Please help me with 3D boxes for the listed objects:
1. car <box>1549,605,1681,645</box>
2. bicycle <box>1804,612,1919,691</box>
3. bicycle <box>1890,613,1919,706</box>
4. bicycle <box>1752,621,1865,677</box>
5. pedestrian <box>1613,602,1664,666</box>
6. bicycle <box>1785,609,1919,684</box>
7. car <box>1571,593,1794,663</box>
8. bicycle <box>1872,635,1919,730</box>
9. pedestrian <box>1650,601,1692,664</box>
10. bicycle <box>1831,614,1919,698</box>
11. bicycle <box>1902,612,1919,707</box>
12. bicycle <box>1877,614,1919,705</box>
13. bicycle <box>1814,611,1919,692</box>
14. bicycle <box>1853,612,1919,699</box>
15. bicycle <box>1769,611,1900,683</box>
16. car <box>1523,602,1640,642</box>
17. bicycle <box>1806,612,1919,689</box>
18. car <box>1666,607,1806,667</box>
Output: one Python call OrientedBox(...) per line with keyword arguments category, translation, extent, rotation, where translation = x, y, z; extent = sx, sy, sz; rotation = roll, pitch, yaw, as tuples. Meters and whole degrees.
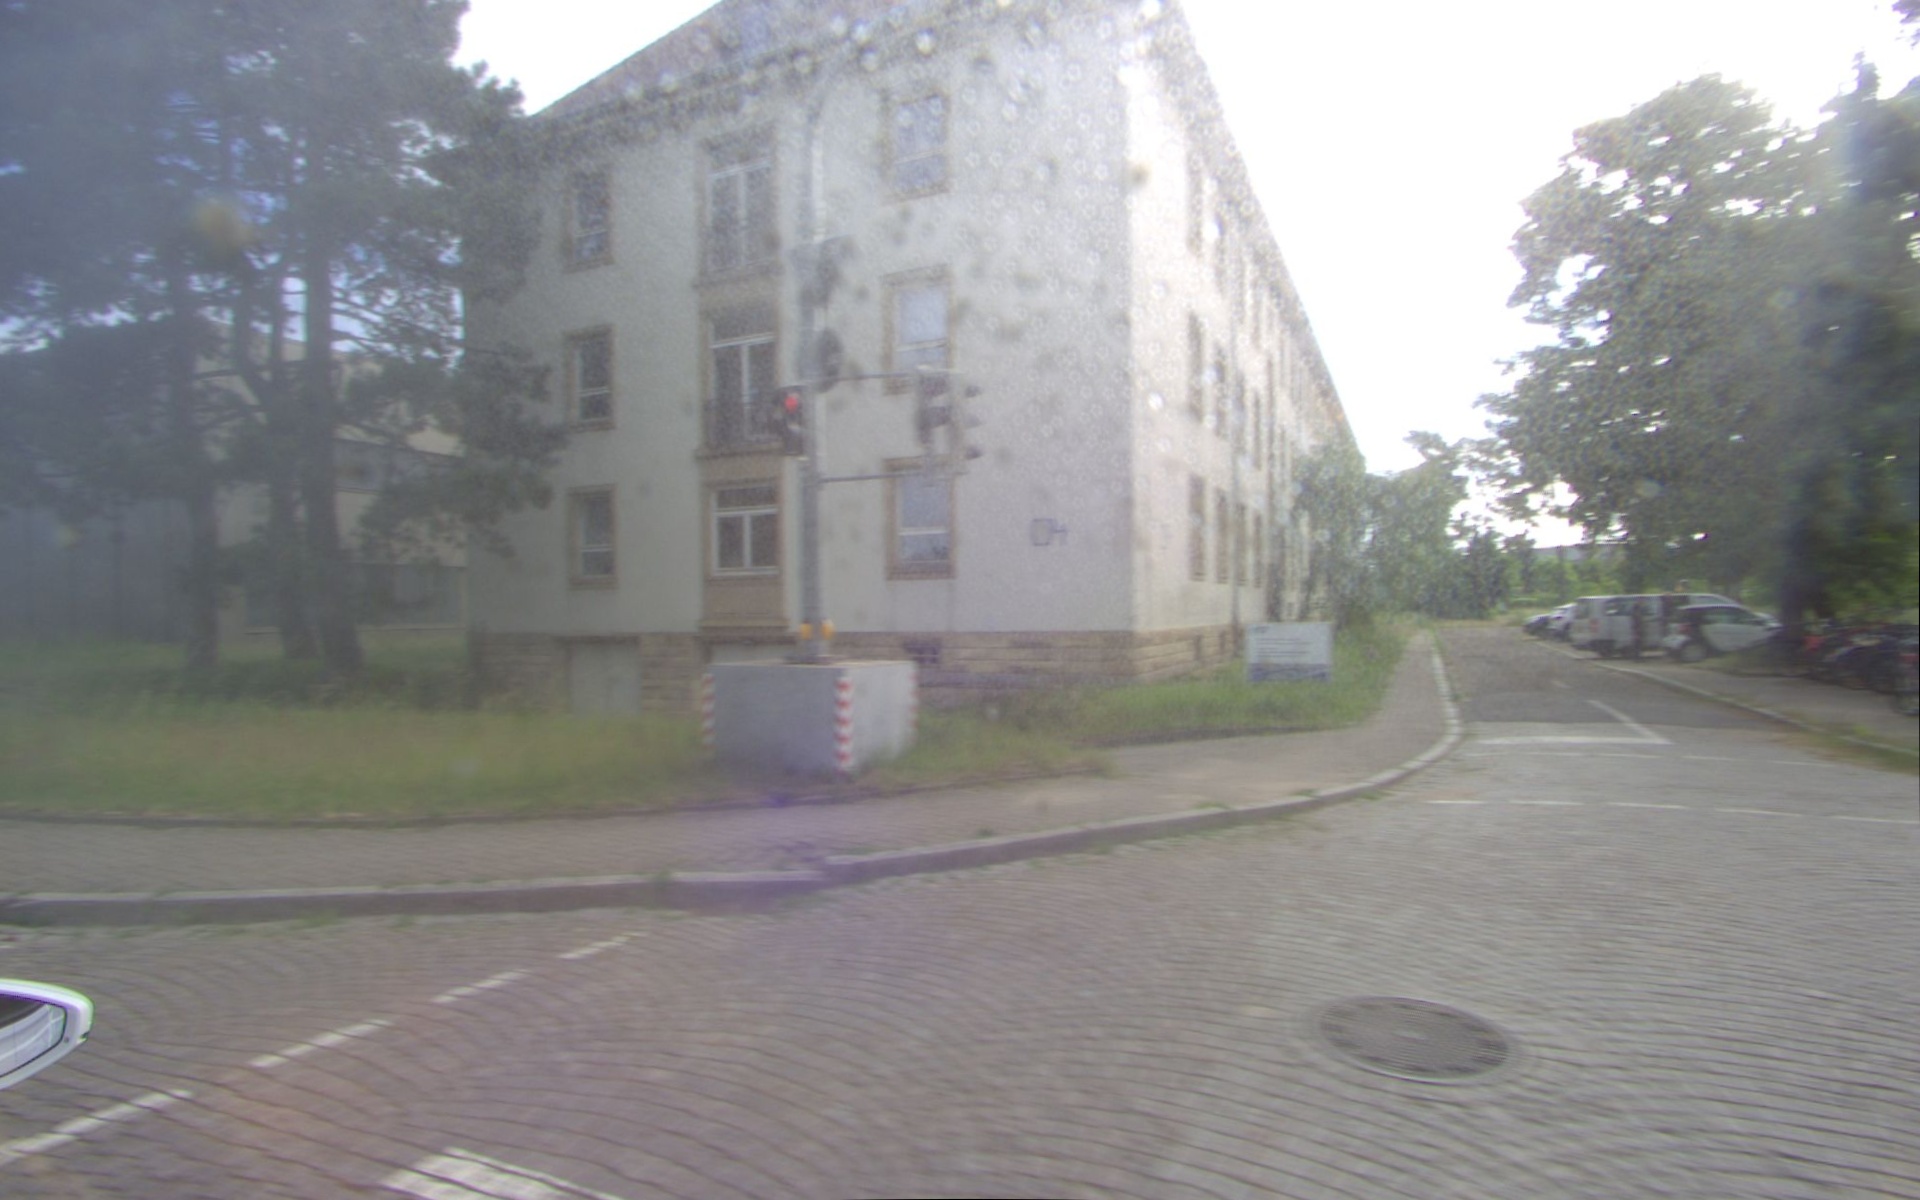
OrientedBox(category="car", translation=(27.585, 1.052, 42.316), extent=(4.392, 1.613, 1.774), rotation=(-1, 0, 23))
OrientedBox(category="bicycle", translation=(16.017, 0.881, 17.536), extent=(1.806, 1.349, 0.571), rotation=(0, 0, 20))
OrientedBox(category="bicycle", translation=(14.708, 0.859, 14.470), extent=(1.806, 1.349, 0.481), rotation=(0, 0, 20))
OrientedBox(category="bicycle", translation=(18.542, 1.059, 21.917), extent=(1.805, 1.202, 0.572), rotation=(0, 0, 19))
OrientedBox(category="pedestrian", translation=(18.838, 0.933, 27.804), extent=(0.809, 1.760, 0.881), rotation=(0, 0, -25))
OrientedBox(category="bicycle", translation=(16.563, 0.857, 18.608), extent=(1.806, 1.349, 0.571), rotation=(0, 0, 20))
OrientedBox(category="car", translation=(21.104, 0.812, 29.546), extent=(5.035, 1.909, 1.993), rotation=(-1, 0, 25))
OrientedBox(category="bicycle", translation=(12.146, 1.016, 12.564), extent=(0.564, 1.099, 1.830), rotation=(-2, -1, 28))
OrientedBox(category="pedestrian", translation=(20.129, 0.911, 28.366), extent=(0.866, 1.760, 0.796), rotation=(0, 0, 29))
OrientedBox(category="bicycle", translation=(15.496, 0.902, 16.367), extent=(1.806, 1.349, 0.571), rotation=(0, 0, 20))
OrientedBox(category="bicycle", translation=(14.491, 0.842, 14.024), extent=(1.812, 1.349, 0.569), rotation=(-1, 0, 33))
OrientedBox(category="bicycle", translation=(14.897, 0.874, 14.859), extent=(1.806, 1.349, 0.571), rotation=(0, 0, 20))
OrientedBox(category="bicycle", translation=(15.673, 0.857, 16.902), extent=(1.806, 1.349, 0.571), rotation=(0, 0, 20))
OrientedBox(category="bicycle", translation=(15.157, 0.854, 15.579), extent=(1.806, 1.349, 0.571), rotation=(0, 0, 20))
OrientedBox(category="bicycle", translation=(16.795, 0.888, 19.283), extent=(1.806, 1.349, 0.571), rotation=(0, 0, 20))
OrientedBox(category="car", translation=(28.161, 0.983, 45.551), extent=(4.316, 1.740, 1.993), rotation=(-1, 0, 25))
OrientedBox(category="bicycle", translation=(16.449, 0.898, 18.005), extent=(1.806, 1.349, 0.571), rotation=(0, 0, 20))
OrientedBox(category="car", translation=(20.462, 0.956, 26.524), extent=(2.649, 1.528, 1.472), rotation=(-1, 0, 25))
